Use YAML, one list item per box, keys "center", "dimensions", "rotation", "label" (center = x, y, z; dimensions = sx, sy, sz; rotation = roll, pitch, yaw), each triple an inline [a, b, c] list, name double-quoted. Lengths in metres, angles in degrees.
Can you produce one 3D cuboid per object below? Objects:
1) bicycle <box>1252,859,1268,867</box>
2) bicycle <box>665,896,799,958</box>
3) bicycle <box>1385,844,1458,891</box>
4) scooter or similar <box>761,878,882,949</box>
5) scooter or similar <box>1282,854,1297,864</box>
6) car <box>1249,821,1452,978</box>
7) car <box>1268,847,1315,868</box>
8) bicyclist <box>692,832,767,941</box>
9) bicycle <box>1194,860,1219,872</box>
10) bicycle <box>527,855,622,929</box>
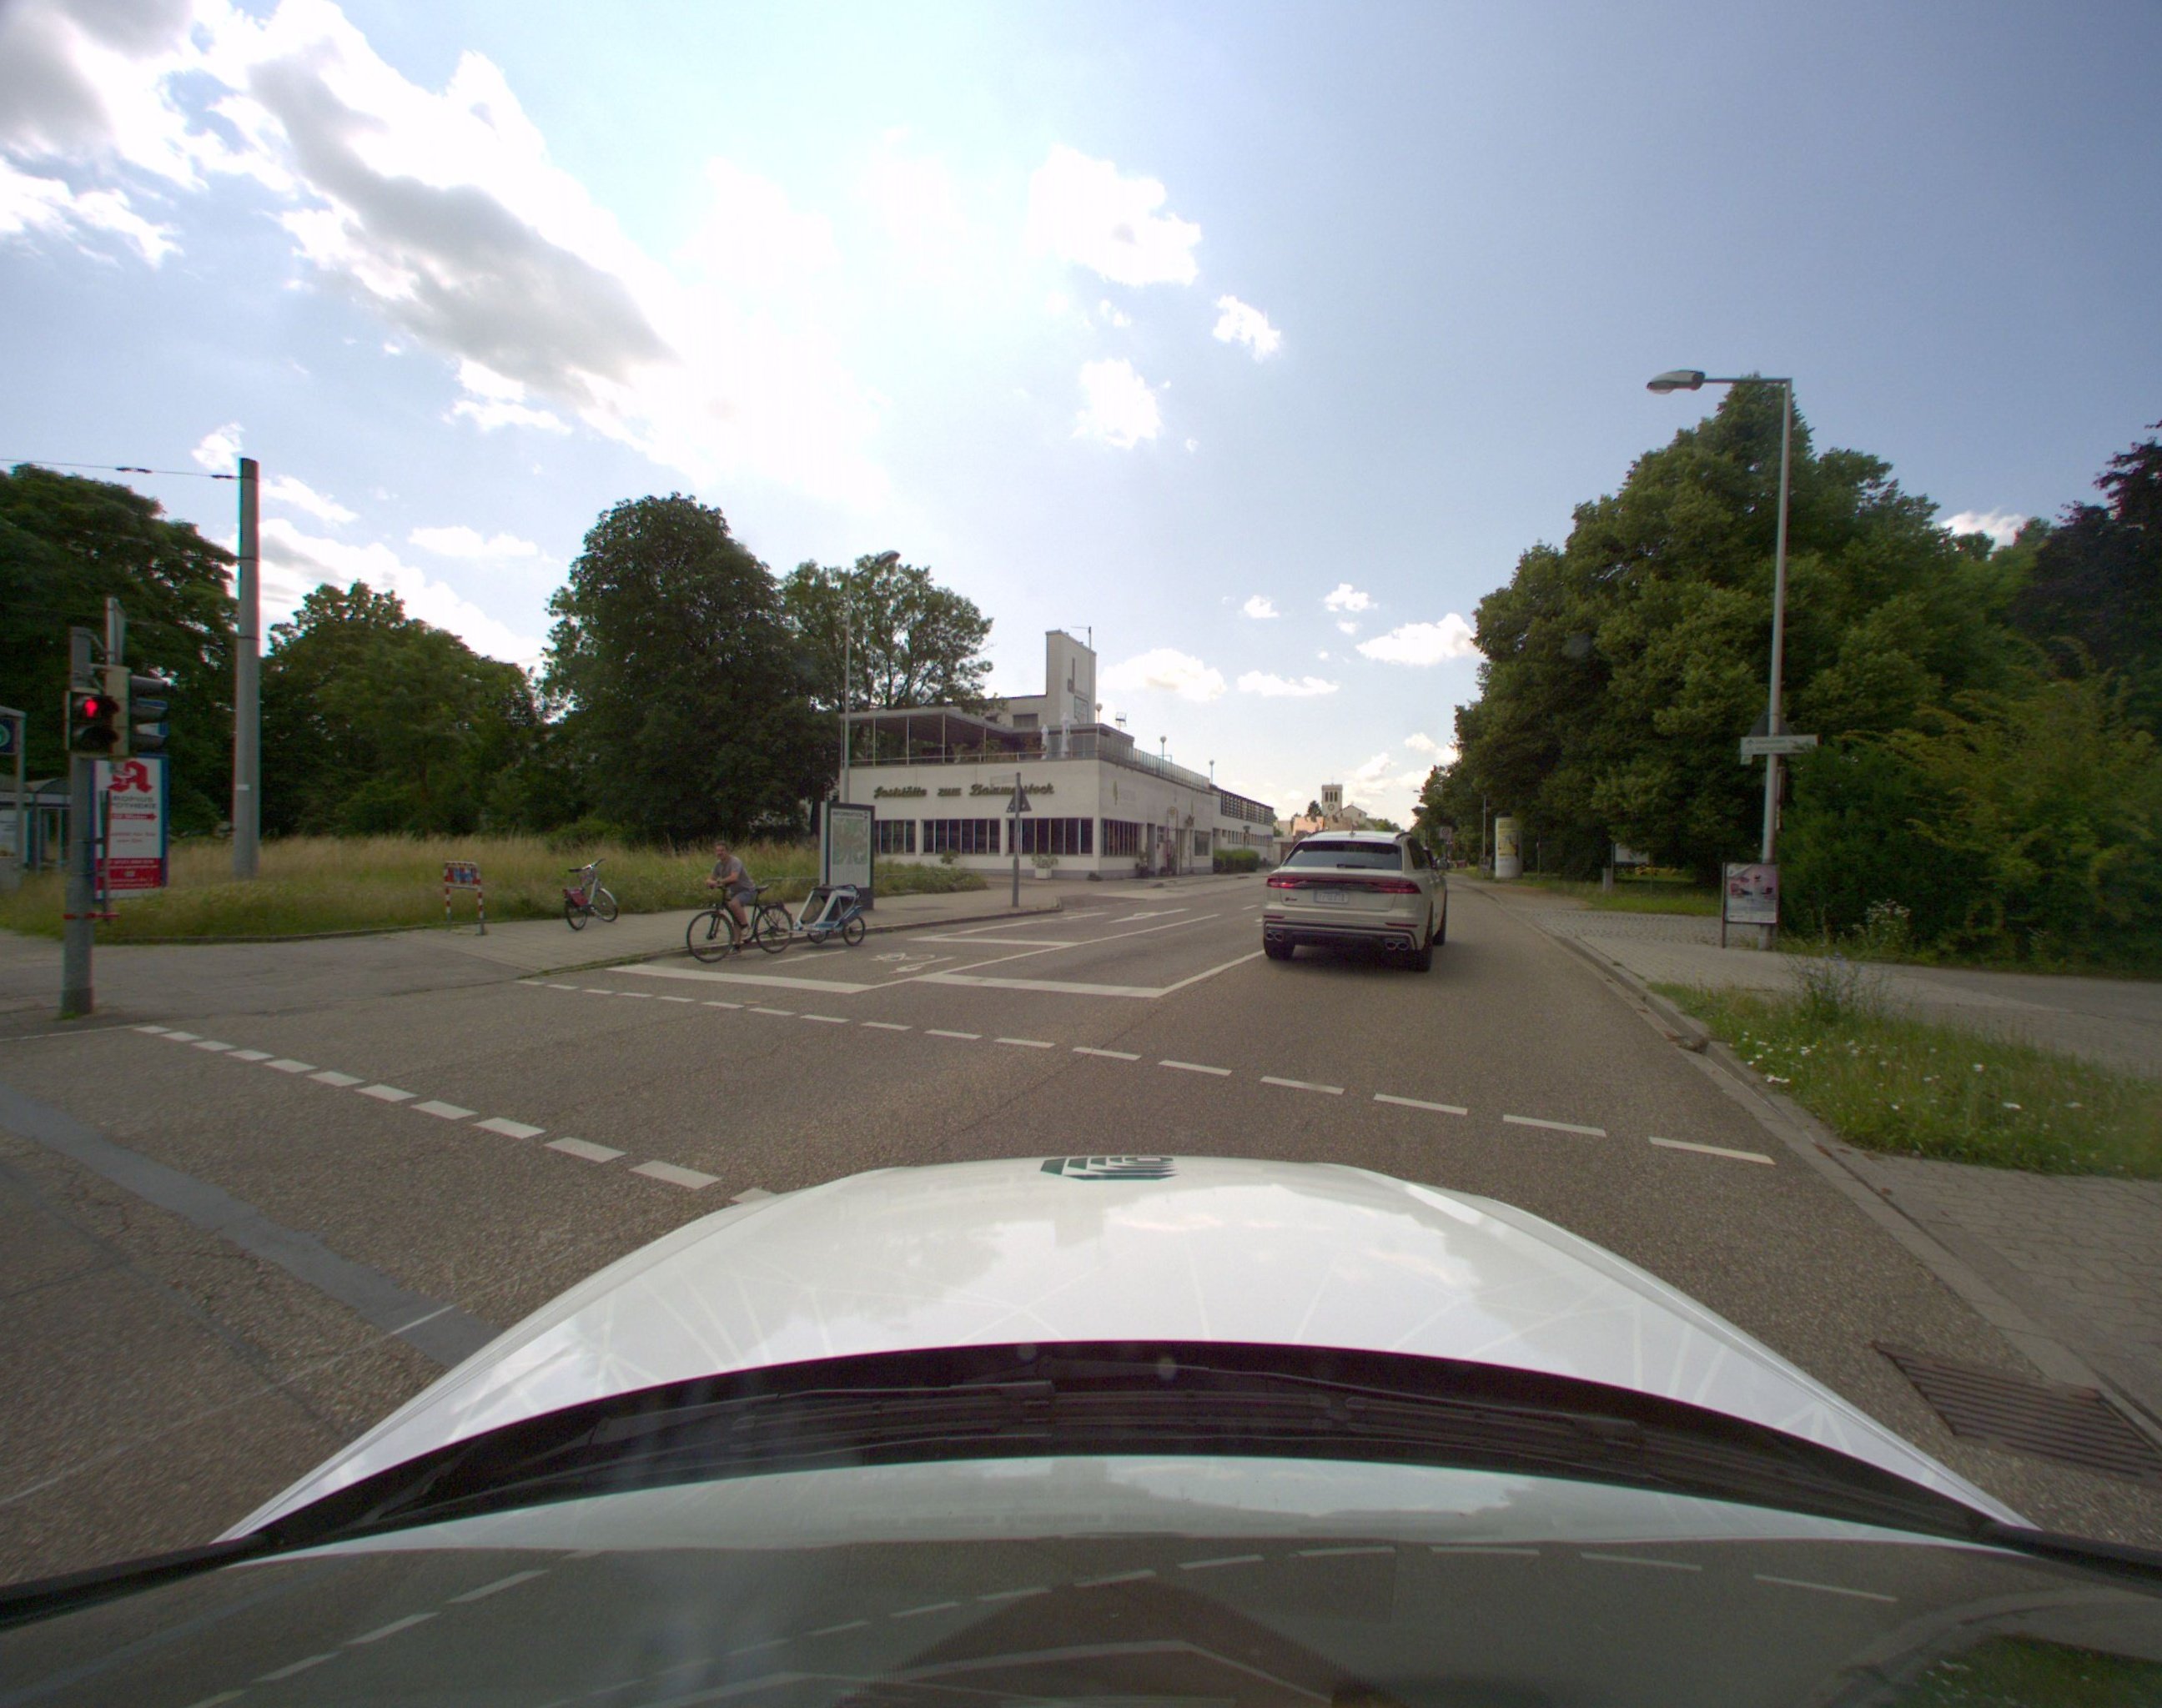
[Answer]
- center: [19.958, 1.001, 90.652]
  dimensions: [1.666, 0.757, 0.569]
  rotation: [2, 0, -5]
  label: "bicycle"
- center: [-4.917, 1.003, 11.603]
  dimensions: [0.548, 0.765, 1.738]
  rotation: [0, -1, 32]
  label: "bicycle"
- center: [12.972, 0.485, 31.246]
  dimensions: [1.979, 1.675, 4.224]
  rotation: [1, 0, 14]
  label: "bicycle"
- center: [-4.084, 0.905, 12.901]
  dimensions: [0.950, 0.979, 1.590]
  rotation: [0, 0, 32]
  label: "scooter or similar"
- center: [20.353, 0.514, 79.530]
  dimensions: [0.622, 0.996, 1.989]
  rotation: [1, -1, -8]
  label: "scooter or similar"
- center: [3.956, 0.471, 11.346]
  dimensions: [1.963, 1.684, 4.601]
  rotation: [2, 1, 27]
  label: "car"
- center: [21.530, 0.335, 83.263]
  dimensions: [4.596, 2.014, 2.008]
  rotation: [1, -1, 16]
  label: "car"
- center: [-4.967, 0.441, 11.538]
  dimensions: [0.449, 1.475, 0.847]
  rotation: [0, 0, 32]
  label: "bicyclist"
- center: [8.333, 0.816, 54.074]
  dimensions: [1.662, 0.757, 0.411]
  rotation: [0, 0, 4]
  label: "bicycle"
- center: [-8.649, 0.619, 13.990]
  dimensions: [0.698, 1.132, 1.658]
  rotation: [1, 2, -5]
  label: "bicycle"
